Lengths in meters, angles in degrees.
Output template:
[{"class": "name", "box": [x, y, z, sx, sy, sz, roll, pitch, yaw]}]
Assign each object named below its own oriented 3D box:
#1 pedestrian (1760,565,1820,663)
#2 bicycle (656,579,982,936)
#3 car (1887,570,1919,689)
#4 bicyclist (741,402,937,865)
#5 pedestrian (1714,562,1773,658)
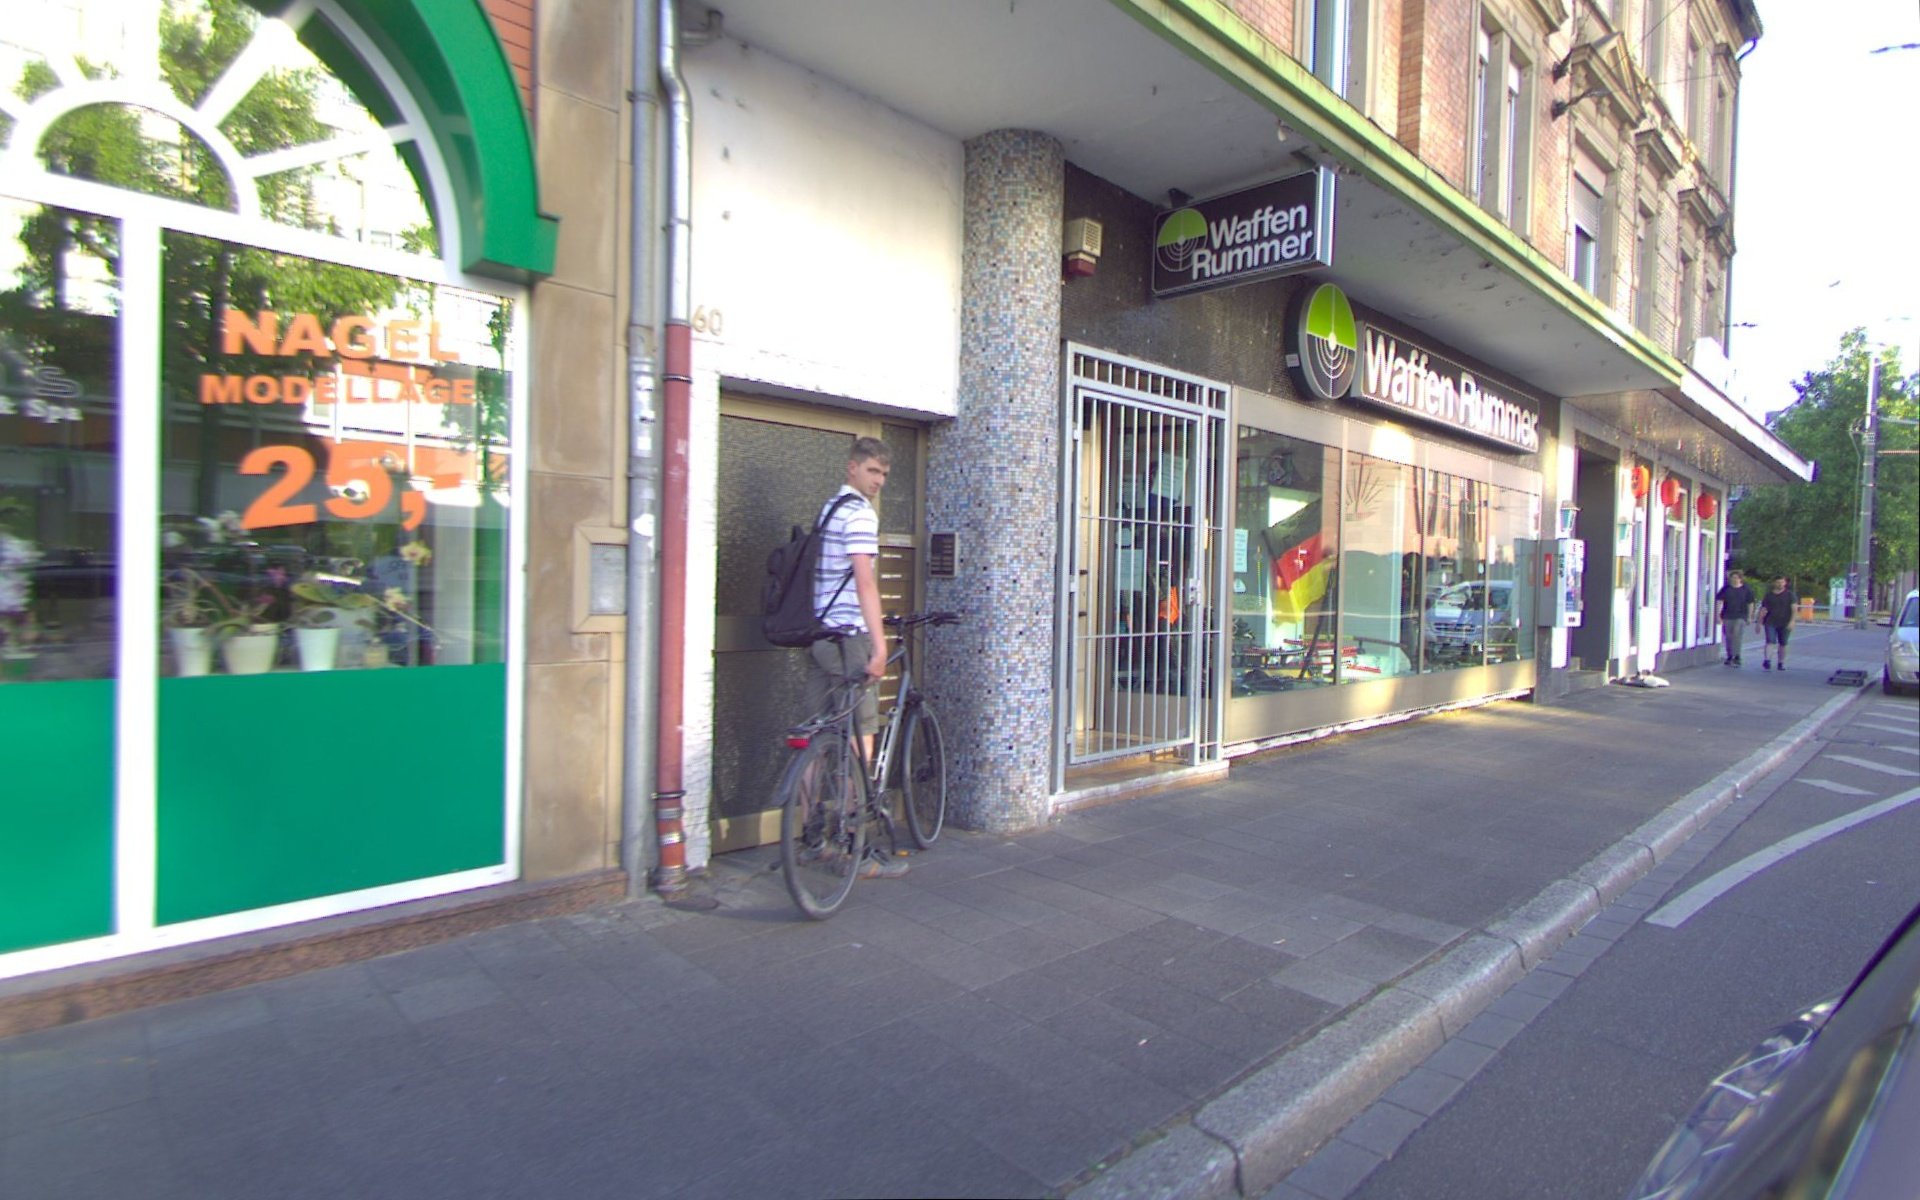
[{"class": "pedestrian", "box": [15.197, 0.241, 18.526, 0.494, 1.744, 0.700, 0, 3, -42]}, {"class": "bicycle", "box": [-0.523, 0.546, 4.633, 0.660, 1.269, 1.883, 1, 2, 20]}, {"class": "car", "box": [15.619, 0.432, 15.481, 3.930, 1.705, 1.670, 0, 1, -41]}, {"class": "bicyclist", "box": [-0.528, 0.124, 4.611, 0.592, 1.905, 0.739, 1, 1, 20]}, {"class": "pedestrian", "box": [14.867, 0.175, 19.210, 0.669, 1.744, 0.700, 0, 3, -42]}]
